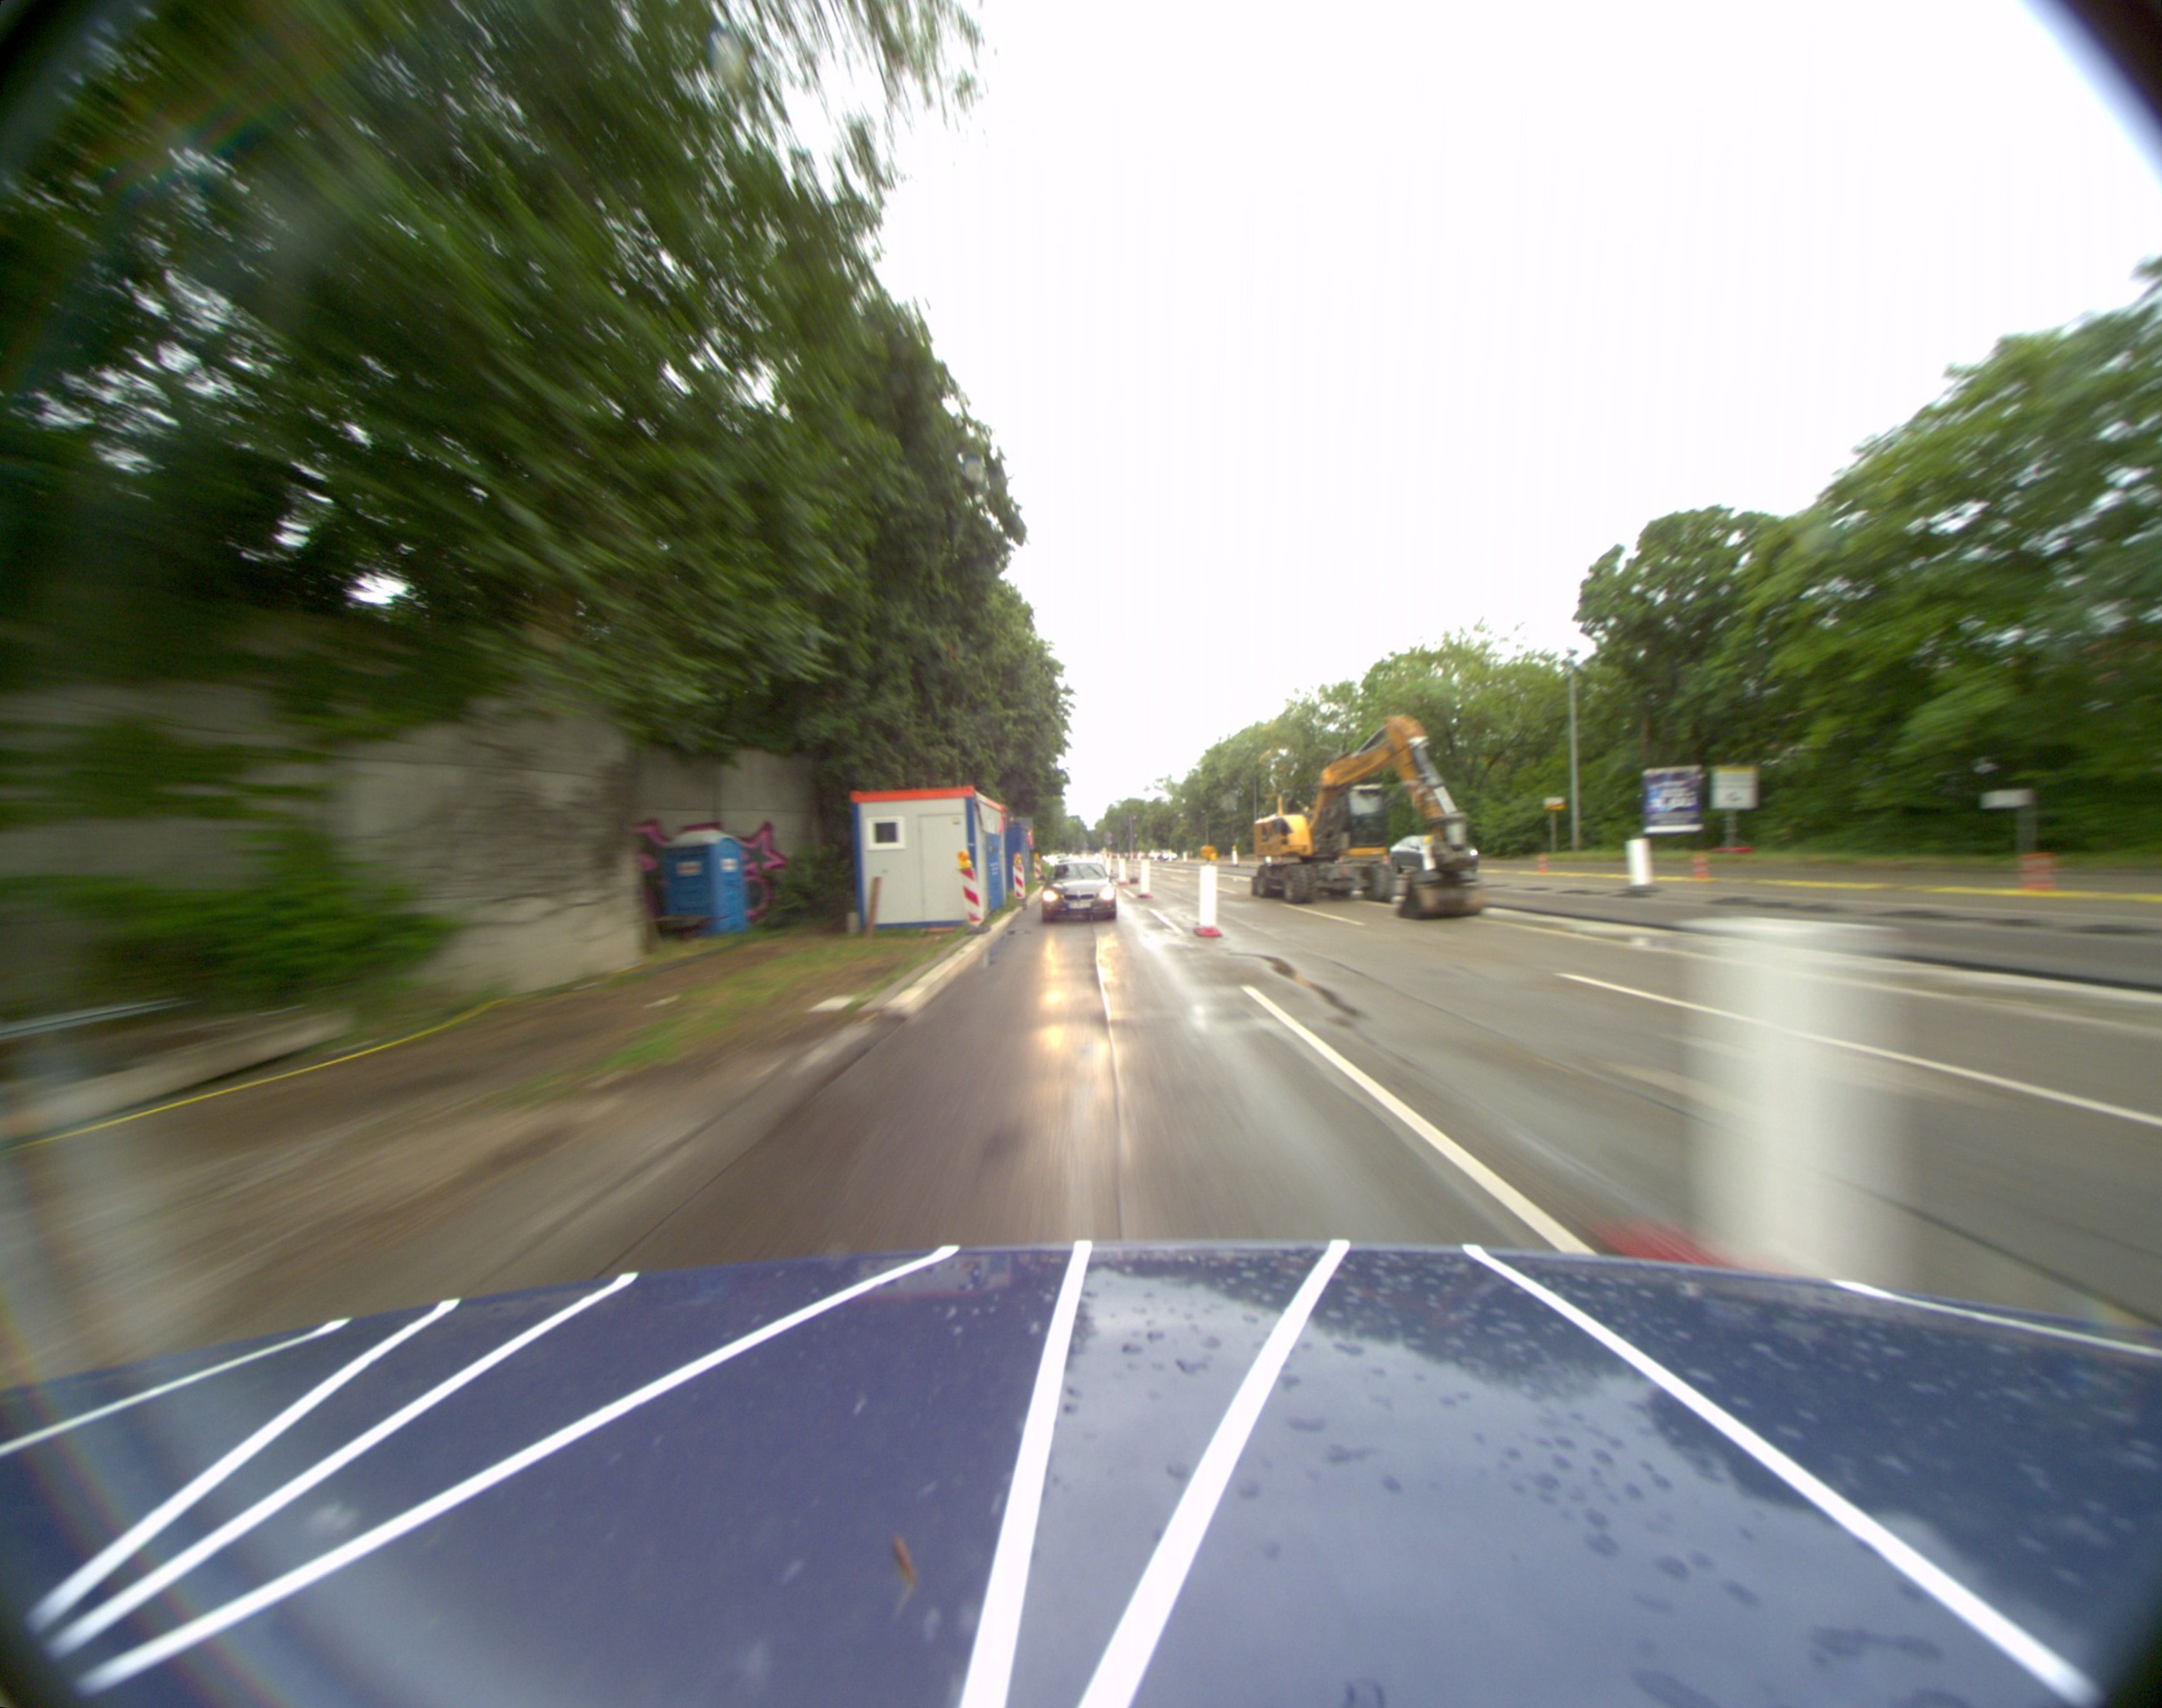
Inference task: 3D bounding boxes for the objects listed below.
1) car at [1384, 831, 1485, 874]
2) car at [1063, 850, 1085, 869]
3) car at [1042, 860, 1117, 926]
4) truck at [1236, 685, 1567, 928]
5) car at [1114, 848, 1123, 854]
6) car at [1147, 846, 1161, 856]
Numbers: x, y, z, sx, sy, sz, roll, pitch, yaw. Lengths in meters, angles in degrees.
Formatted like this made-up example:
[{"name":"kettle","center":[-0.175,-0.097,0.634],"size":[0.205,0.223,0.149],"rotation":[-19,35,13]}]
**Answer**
[{"name":"car","center":[14.967,-0.070,32.505],"size":[1.999,1.619,4.811],"rotation":[-3,1,-1]},{"name":"car","center":[-0.691,0.489,74.245],"size":[1.999,1.707,3.999],"rotation":[-2,1,-2]},{"name":"car","center":[-0.067,0.898,19.398],"size":[1.658,1.409,4.128],"rotation":[-2,0,-1]},{"name":"truck","center":[6.913,-0.877,19.074],"size":[2.906,4.234,10.751],"rotation":[-3,0,-4]},{"name":"car","center":[10.160,-0.807,207.525],"size":[2.027,1.715,5.011],"rotation":[-3,0,-2]},{"name":"car","center":[13.844,-0.600,144.095],"size":[1.895,1.651,4.892],"rotation":[-3,0,-2]}]
